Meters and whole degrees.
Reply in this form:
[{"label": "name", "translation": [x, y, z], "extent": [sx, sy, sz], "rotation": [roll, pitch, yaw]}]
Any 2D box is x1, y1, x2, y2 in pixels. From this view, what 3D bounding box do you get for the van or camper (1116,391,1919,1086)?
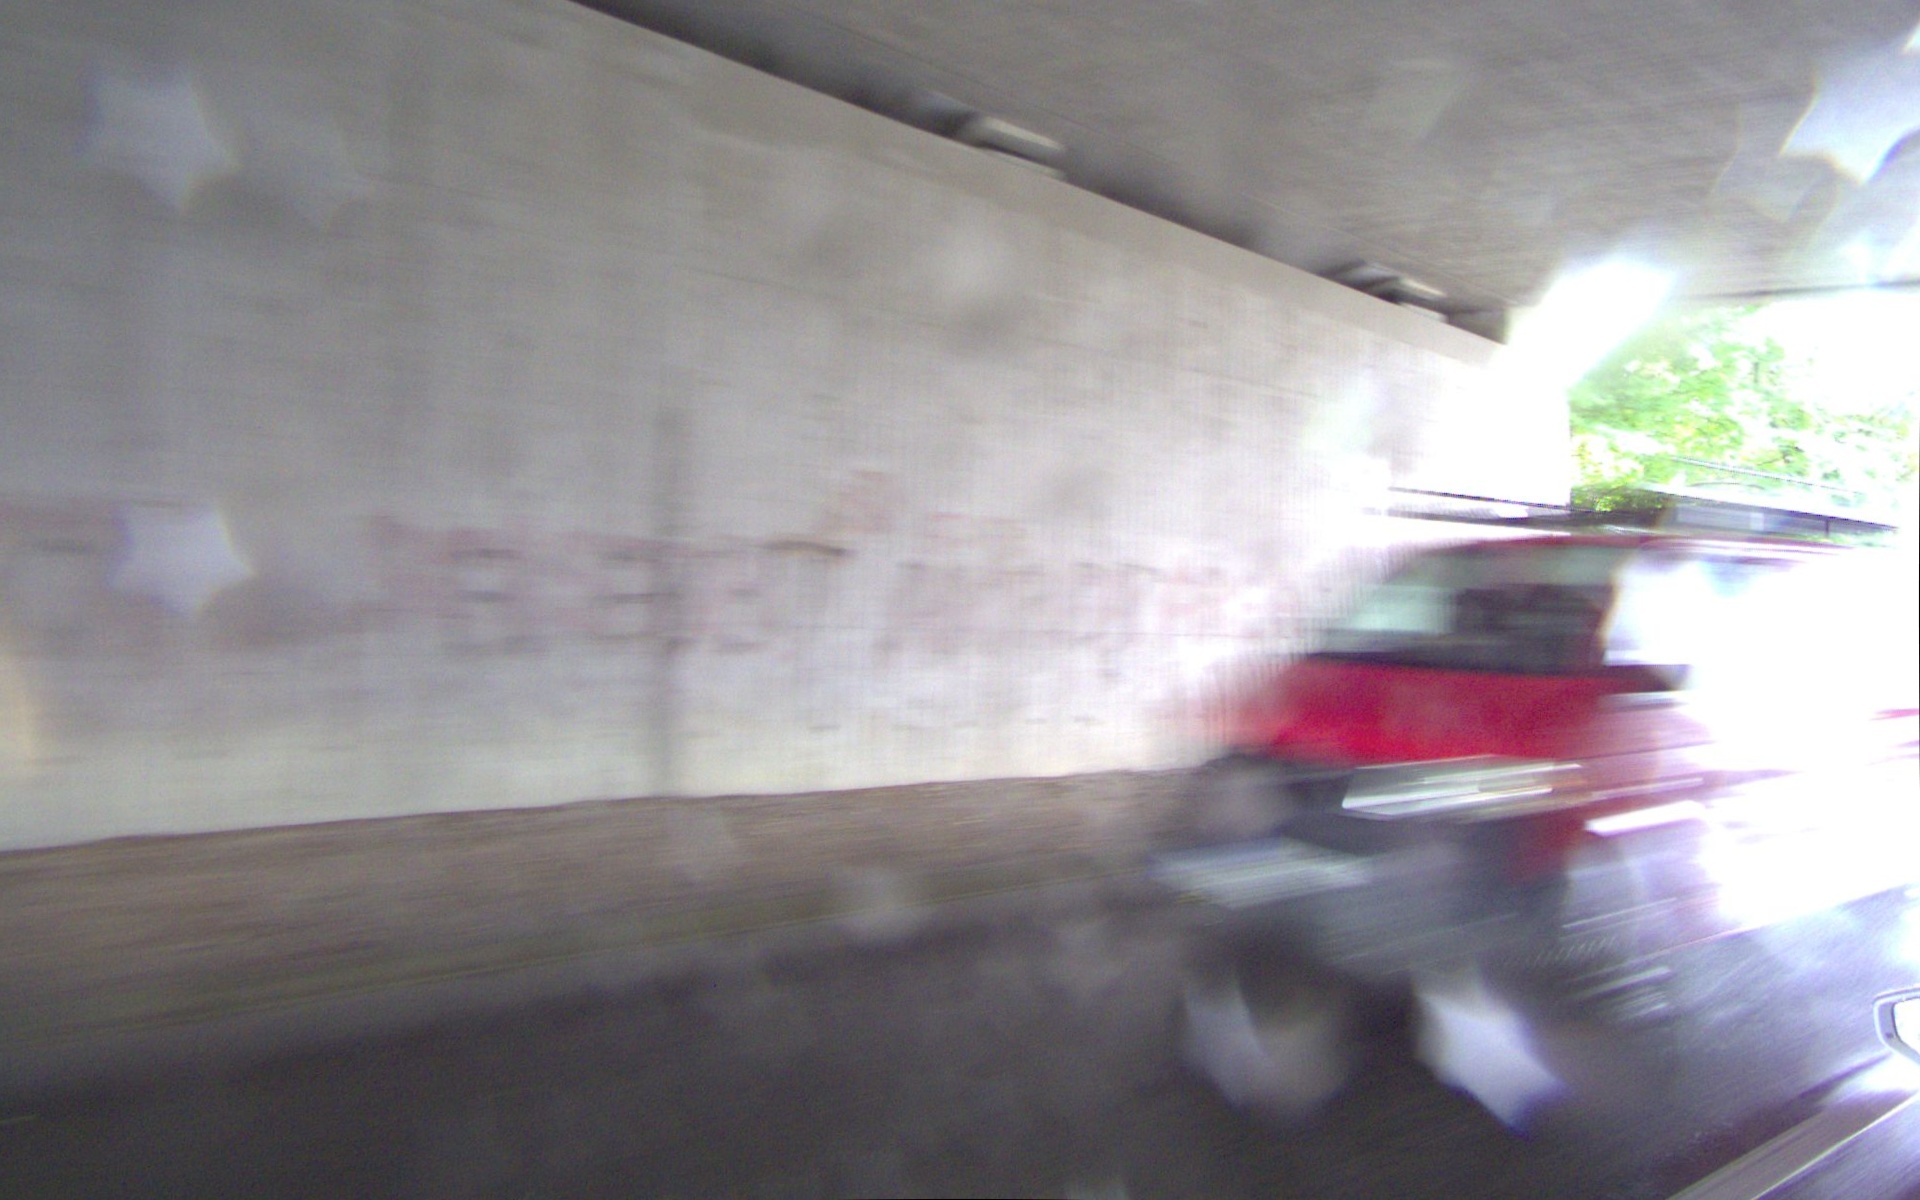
[{"label": "van or camper", "translation": [3.257, 0.461, 5.099], "extent": [4.636, 2.126, 1.984], "rotation": [1, 0, -30]}]
